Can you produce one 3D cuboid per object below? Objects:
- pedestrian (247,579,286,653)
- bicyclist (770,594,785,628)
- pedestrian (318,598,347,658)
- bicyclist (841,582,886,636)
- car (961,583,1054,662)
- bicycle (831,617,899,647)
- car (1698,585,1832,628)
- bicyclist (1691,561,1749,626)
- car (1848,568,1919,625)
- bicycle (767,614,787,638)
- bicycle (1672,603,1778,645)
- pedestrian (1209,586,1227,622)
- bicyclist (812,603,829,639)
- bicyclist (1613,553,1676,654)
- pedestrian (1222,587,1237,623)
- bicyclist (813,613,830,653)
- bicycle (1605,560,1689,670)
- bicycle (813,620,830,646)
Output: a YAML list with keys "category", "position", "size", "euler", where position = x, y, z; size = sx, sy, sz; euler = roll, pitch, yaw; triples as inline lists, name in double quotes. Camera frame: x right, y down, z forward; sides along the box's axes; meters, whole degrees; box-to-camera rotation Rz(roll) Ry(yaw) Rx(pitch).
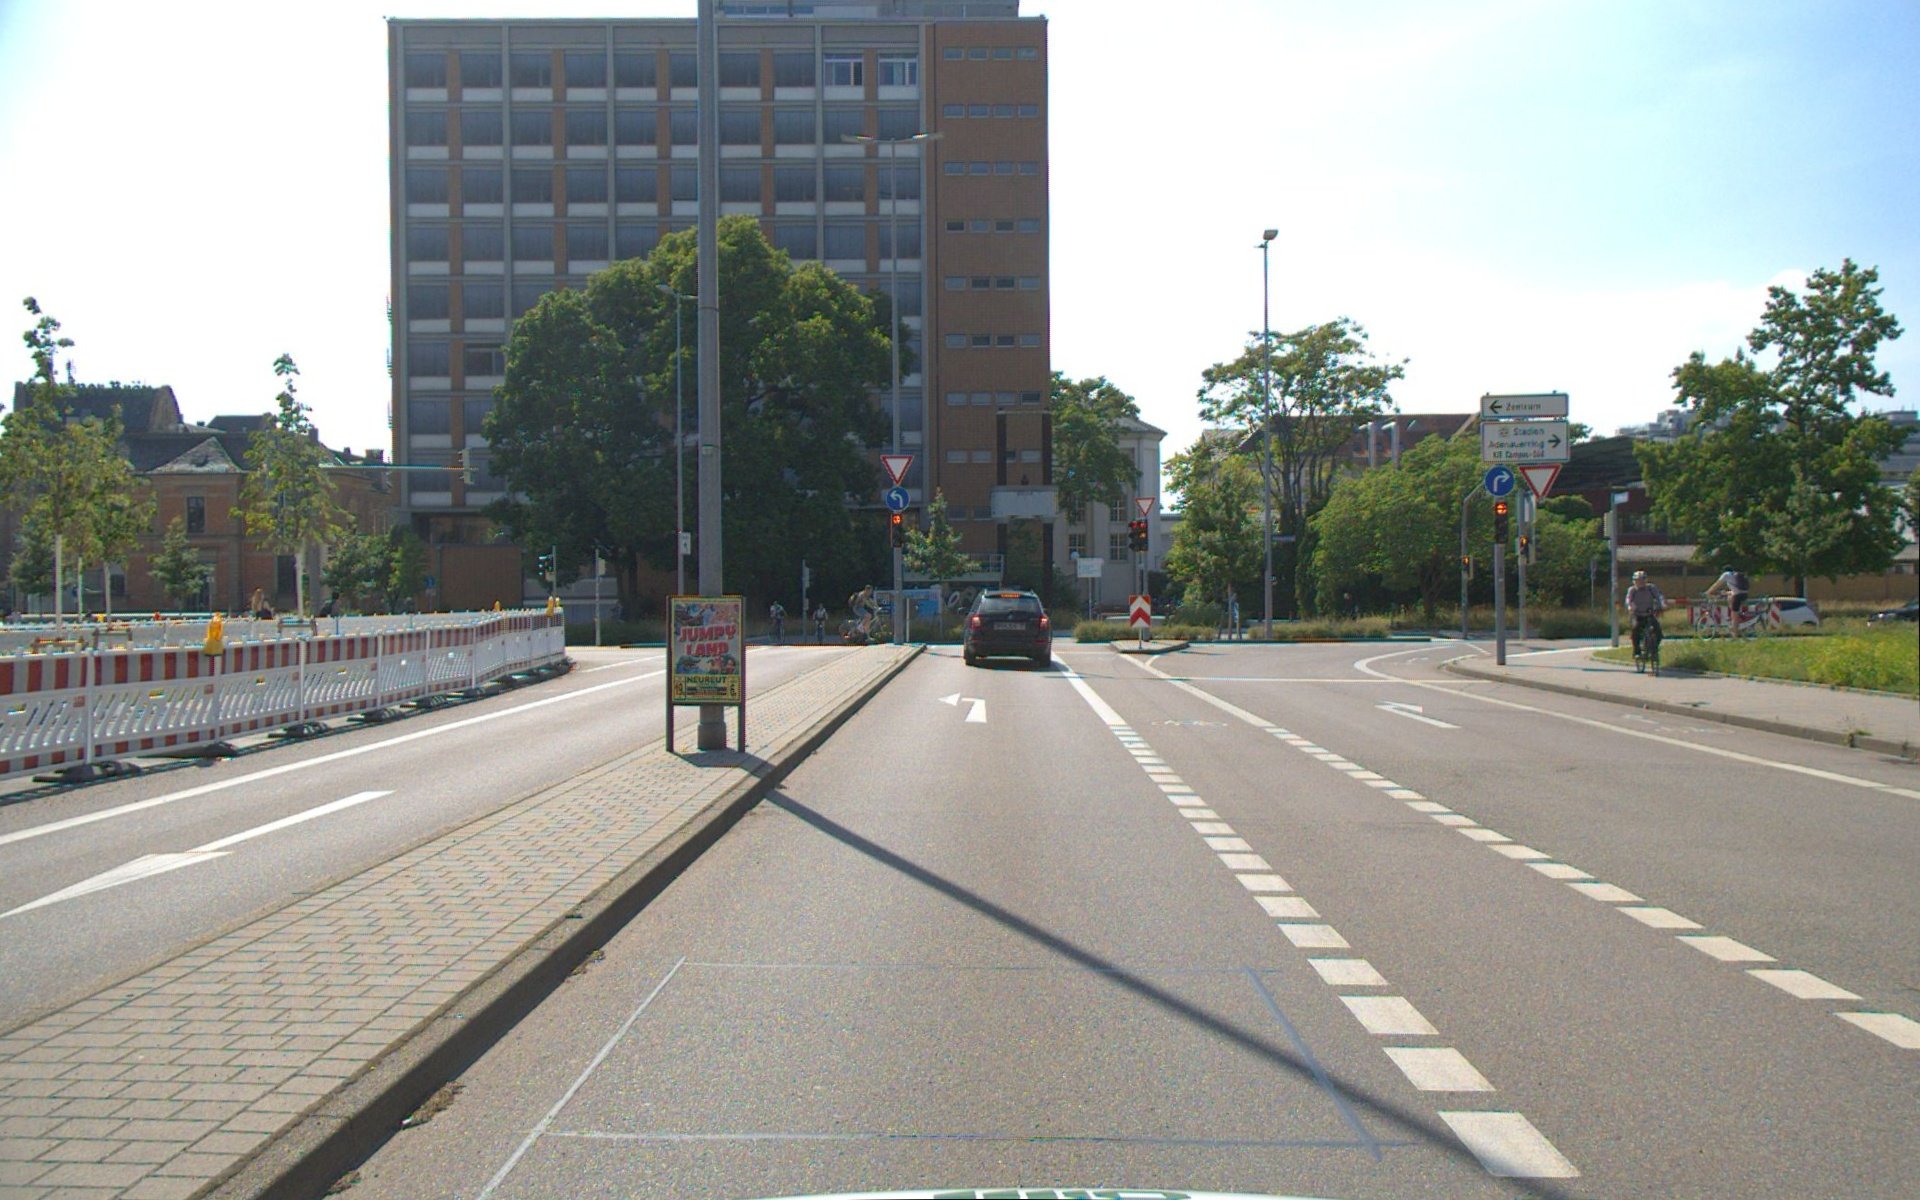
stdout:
- category: "pedestrian"
  position: [-17.176, 0.408, 40.972]
  size: [0.724, 1.783, 1.106]
  euler: [-1, -2, -15]
- category: "bicyclist"
  position: [-8.012, 0.489, 72.600]
  size: [0.528, 1.441, 1.030]
  euler: [-2, -1, -1]
- category: "pedestrian"
  position: [-16.123, 0.711, 42.497]
  size: [0.620, 1.518, 0.614]
  euler: [-1, 0, -15]
- category: "bicyclist"
  position: [-2.741, 0.251, 47.196]
  size: [1.140, 1.500, 0.564]
  euler: [-1, 0, 13]
- category: "car"
  position: [0.957, 0.426, 33.458]
  size: [1.743, 1.468, 3.818]
  euler: [1, 0, 1]
- category: "bicycle"
  position: [-2.700, 0.920, 47.179]
  size: [1.849, 0.806, 0.561]
  euler: [-1, 1, 14]
- category: "car"
  position: [29.507, 0.249, 60.709]
  size: [3.905, 1.490, 2.000]
  euler: [-1, -1, 1]
- category: "bicyclist"
  position: [17.696, -0.149, 38.537]
  size: [0.492, 1.496, 1.125]
  euler: [2, -1, -42]
- category: "car"
  position: [35.117, -0.157, 60.759]
  size: [3.903, 2.049, 2.001]
  euler: [-1, 0, 3]
- category: "bicycle"
  position: [-8.009, 1.149, 72.397]
  size: [0.690, 0.994, 2.030]
  euler: [-1, 0, -1]
- category: "bicycle"
  position: [17.772, 0.550, 38.471]
  size: [0.669, 0.932, 2.136]
  euler: [-1, 0, -41]
- category: "pedestrian"
  position: [13.880, 0.209, 88.987]
  size: [0.777, 1.907, 0.639]
  euler: [-2, 0, 15]
- category: "bicyclist"
  position: [-5.815, 0.878, 69.015]
  size: [0.606, 1.468, 0.920]
  euler: [-3, 0, -4]
- category: "bicyclist"
  position: [11.619, 0.055, 28.100]
  size: [0.664, 1.684, 0.919]
  euler: [-1, 0, 1]
- category: "pedestrian"
  position: [14.333, 0.256, 88.048]
  size: [0.623, 1.907, 0.796]
  euler: [-2, 0, 1]
- category: "bicyclist"
  position: [-5.790, 1.374, 69.027]
  size: [0.606, 1.609, 1.013]
  euler: [-3, 0, -4]
- category: "bicycle"
  position: [11.622, 0.244, 28.017]
  size: [0.664, 1.796, 1.811]
  euler: [-1, 0, 1]
- category: "bicycle"
  position: [-5.789, 1.374, 69.015]
  size: [0.606, 0.977, 1.966]
  euler: [-3, 0, -4]
